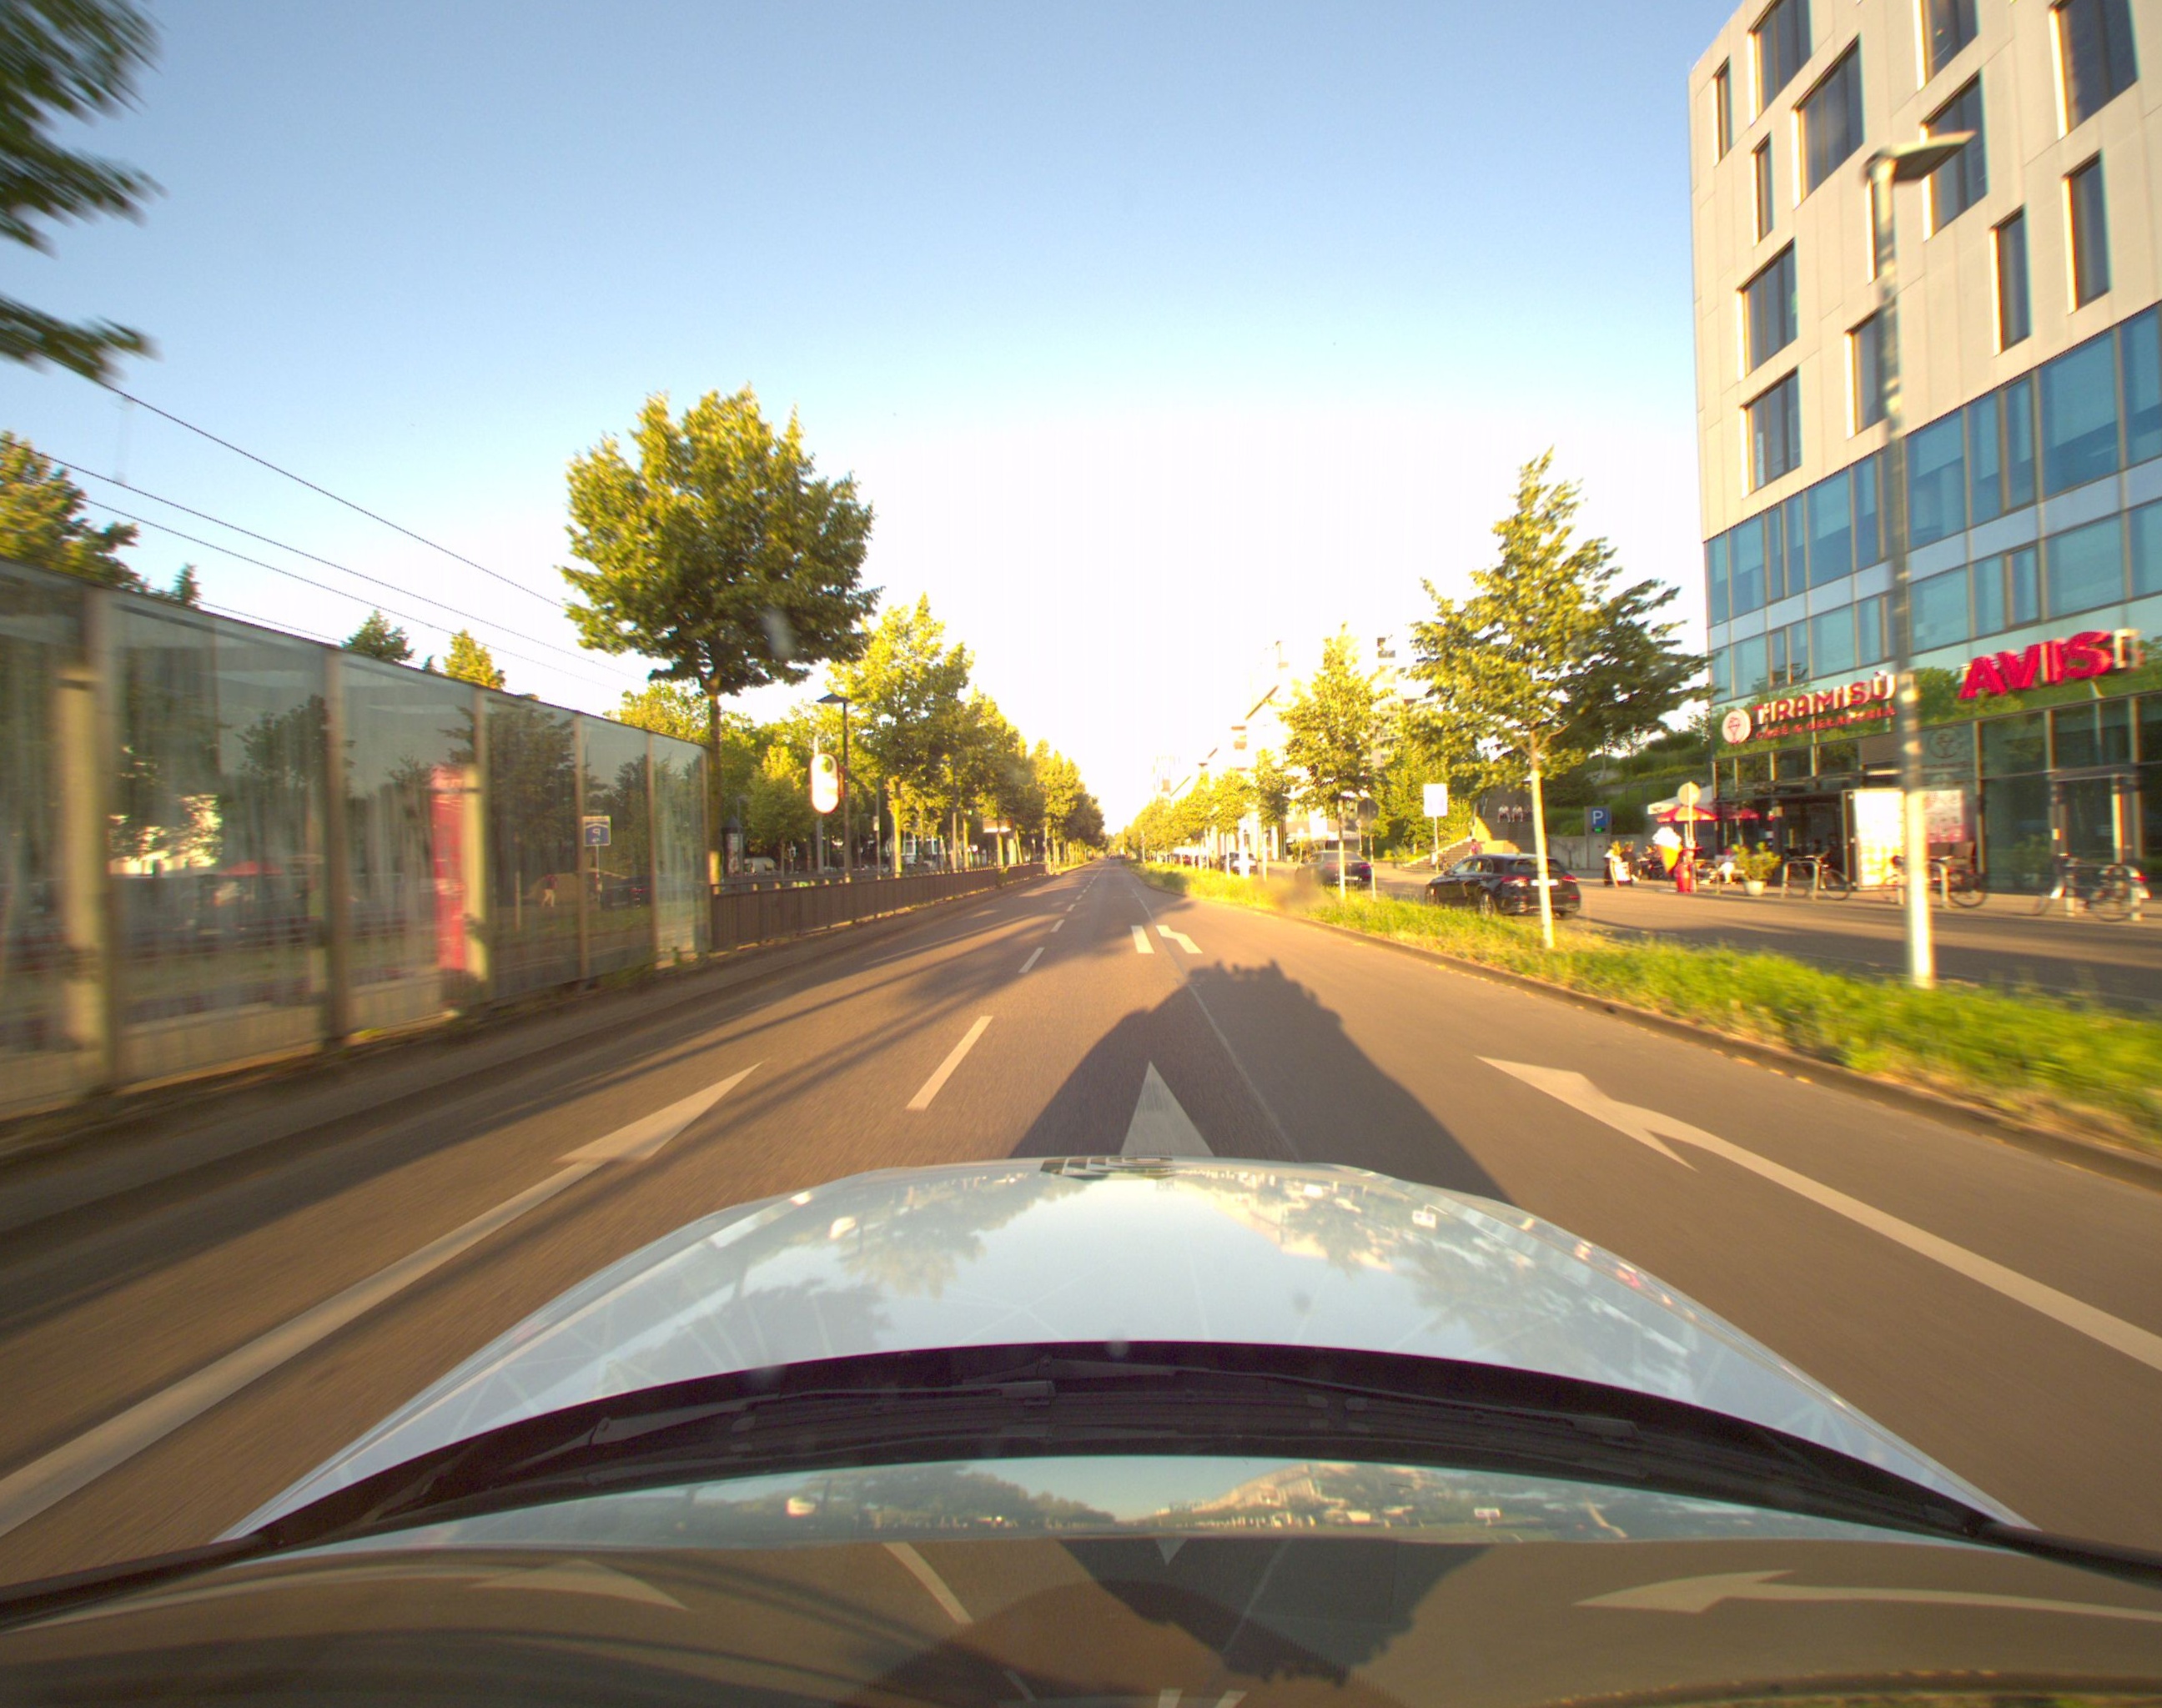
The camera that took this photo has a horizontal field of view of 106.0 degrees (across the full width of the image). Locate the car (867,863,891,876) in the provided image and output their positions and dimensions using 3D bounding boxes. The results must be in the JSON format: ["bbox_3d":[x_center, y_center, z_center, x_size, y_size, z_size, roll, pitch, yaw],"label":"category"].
[{"bbox_3d":[-26.345,1.990,106.363,1.892,1.499,4.310,-2,0,3],"label":"car"}]

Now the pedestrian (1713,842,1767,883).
[{"bbox_3d":[19.396,0.246,23.977,0.969,1.125,0.685,-4,0,2],"label":"pedestrian"}]

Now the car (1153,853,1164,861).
[{"bbox_3d":[14.307,0.550,150.632,1.802,1.501,4.827,-2,0,1],"label":"car"}]

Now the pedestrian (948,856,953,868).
[{"bbox_3d":[-21.748,1.334,135.624,0.692,1.870,0.864,-2,-1,-6],"label":"pedestrian"}]

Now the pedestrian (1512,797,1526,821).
[{"bbox_3d":[25.963,-2.671,48.287,0.661,1.381,0.832,0,1,33],"label":"pedestrian"}]

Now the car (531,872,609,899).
[{"bbox_3d":[-32.284,1.961,51.576,1.985,1.500,4.303,-2,0,4],"label":"car"}]

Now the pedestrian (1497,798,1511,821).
[{"bbox_3d":[25.325,-2.659,48.749,0.661,1.381,0.832,0,0,33],"label":"pedestrian"}]

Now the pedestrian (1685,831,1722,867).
[{"bbox_3d":[22.602,-0.164,29.584,0.740,1.265,0.771,-2,0,2],"label":"pedestrian"}]

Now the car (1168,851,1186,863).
[{"bbox_3d":[12.899,0.440,109.751,1.914,1.501,5.011,-2,0,1],"label":"car"}]

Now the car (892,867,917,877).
[{"bbox_3d":[-25.096,2.515,115.948,1.983,1.315,5.151,-2,0,6],"label":"car"}]

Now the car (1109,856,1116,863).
[{"bbox_3d":[9.556,1.752,245.147,2.080,2.013,4.001,-2,0,1],"label":"car"}]

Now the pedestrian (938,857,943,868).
[{"bbox_3d":[-23.298,1.409,134.908,0.692,1.759,0.864,-2,-1,-6],"label":"pedestrian"}]

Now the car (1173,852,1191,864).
[{"bbox_3d":[12.639,0.481,102.182,1.802,1.501,3.960,-2,0,1],"label":"car"}]

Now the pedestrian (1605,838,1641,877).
[{"bbox_3d":[19.544,0.120,29.366,0.743,1.368,0.768,-2,0,-10],"label":"pedestrian"}]

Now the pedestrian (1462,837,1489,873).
[{"bbox_3d":[18.457,0.029,38.106,0.692,1.654,1.079,-2,0,1],"label":"pedestrian"}]

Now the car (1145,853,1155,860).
[{"bbox_3d":[16.430,0.701,194.790,1.937,1.549,4.811,-2,0,0],"label":"car"}]

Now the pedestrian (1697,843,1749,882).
[{"bbox_3d":[19.500,0.255,24.738,0.969,1.125,0.685,-4,0,2],"label":"pedestrian"}]

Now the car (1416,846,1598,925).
[{"bbox_3d":[9.303,0.610,18.252,1.802,1.501,4.481,-2,0,1],"label":"car"}]

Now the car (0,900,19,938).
[{"bbox_3d":[-35.572,2.121,24.407,1.985,1.201,4.093,-2,0,4],"label":"car"}]

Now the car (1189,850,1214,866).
[{"bbox_3d":[11.535,0.377,78.232,1.802,1.501,4.370,-2,0,1],"label":"car"}]

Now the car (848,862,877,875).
[{"bbox_3d":[-27.006,1.808,100.786,1.985,1.499,4.560,-2,0,3],"label":"car"}]

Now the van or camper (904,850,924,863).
[{"bbox_3d":[-38.763,0.566,189.201,2.697,3.085,6.273,-2,0,6],"label":"van or camper"}]

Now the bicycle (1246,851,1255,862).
[{"bbox_3d":[19.416,0.273,93.158,0.615,1.231,1.670,-2,0,0],"label":"bicycle"}]

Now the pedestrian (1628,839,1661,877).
[{"bbox_3d":[19.792,0.135,28.594,0.665,1.290,0.678,-4,0,-31],"label":"pedestrian"}]

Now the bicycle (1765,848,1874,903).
[{"bbox_3d":[16.553,0.448,18.318,0.637,1.133,1.872,-4,0,-2],"label":"bicycle"}]

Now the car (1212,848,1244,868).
[{"bbox_3d":[10.922,0.271,60.795,1.743,1.398,4.001,-1,0,1],"label":"car"}]

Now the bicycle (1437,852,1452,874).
[{"bbox_3d":[17.966,0.429,40.256,0.538,1.043,1.923,-2,0,21],"label":"bicycle"}]

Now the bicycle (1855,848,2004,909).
[{"bbox_3d":[16.513,0.439,15.938,0.681,1.063,2.072,-4,0,-1],"label":"bicycle"}]

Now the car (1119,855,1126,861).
[{"bbox_3d":[13.100,1.281,256.580,1.986,2.013,4.001,-2,0,1],"label":"car"}]

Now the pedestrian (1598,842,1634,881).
[{"bbox_3d":[18.664,0.247,28.416,0.776,1.290,0.686,-4,0,8],"label":"pedestrian"}]

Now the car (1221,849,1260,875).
[{"bbox_3d":[10.791,0.534,55.249,1.802,1.632,4.677,-2,0,1],"label":"car"}]

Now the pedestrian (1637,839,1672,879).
[{"bbox_3d":[19.503,0.165,27.708,0.683,1.290,0.626,-4,0,-11],"label":"pedestrian"}]

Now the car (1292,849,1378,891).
[{"bbox_3d":[10.090,0.588,32.817,1.912,1.501,5.413,-2,0,1],"label":"car"}]

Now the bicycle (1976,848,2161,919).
[{"bbox_3d":[16.174,0.441,13.338,0.595,1.040,2.070,-4,0,-4],"label":"bicycle"}]

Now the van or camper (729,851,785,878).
[{"bbox_3d":[-30.058,0.925,75.840,2.272,2.365,5.794,-2,0,7],"label":"van or camper"}]

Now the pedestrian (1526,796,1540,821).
[{"bbox_3d":[26.594,-2.664,47.954,0.661,1.381,0.832,0,0,33],"label":"pedestrian"}]

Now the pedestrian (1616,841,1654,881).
[{"bbox_3d":[18.743,0.244,27.571,0.771,1.290,0.686,-4,0,8],"label":"pedestrian"}]

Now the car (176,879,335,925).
[{"bbox_3d":[-33.966,1.915,33.702,1.985,1.585,4.301,-2,0,4],"label":"car"}]
